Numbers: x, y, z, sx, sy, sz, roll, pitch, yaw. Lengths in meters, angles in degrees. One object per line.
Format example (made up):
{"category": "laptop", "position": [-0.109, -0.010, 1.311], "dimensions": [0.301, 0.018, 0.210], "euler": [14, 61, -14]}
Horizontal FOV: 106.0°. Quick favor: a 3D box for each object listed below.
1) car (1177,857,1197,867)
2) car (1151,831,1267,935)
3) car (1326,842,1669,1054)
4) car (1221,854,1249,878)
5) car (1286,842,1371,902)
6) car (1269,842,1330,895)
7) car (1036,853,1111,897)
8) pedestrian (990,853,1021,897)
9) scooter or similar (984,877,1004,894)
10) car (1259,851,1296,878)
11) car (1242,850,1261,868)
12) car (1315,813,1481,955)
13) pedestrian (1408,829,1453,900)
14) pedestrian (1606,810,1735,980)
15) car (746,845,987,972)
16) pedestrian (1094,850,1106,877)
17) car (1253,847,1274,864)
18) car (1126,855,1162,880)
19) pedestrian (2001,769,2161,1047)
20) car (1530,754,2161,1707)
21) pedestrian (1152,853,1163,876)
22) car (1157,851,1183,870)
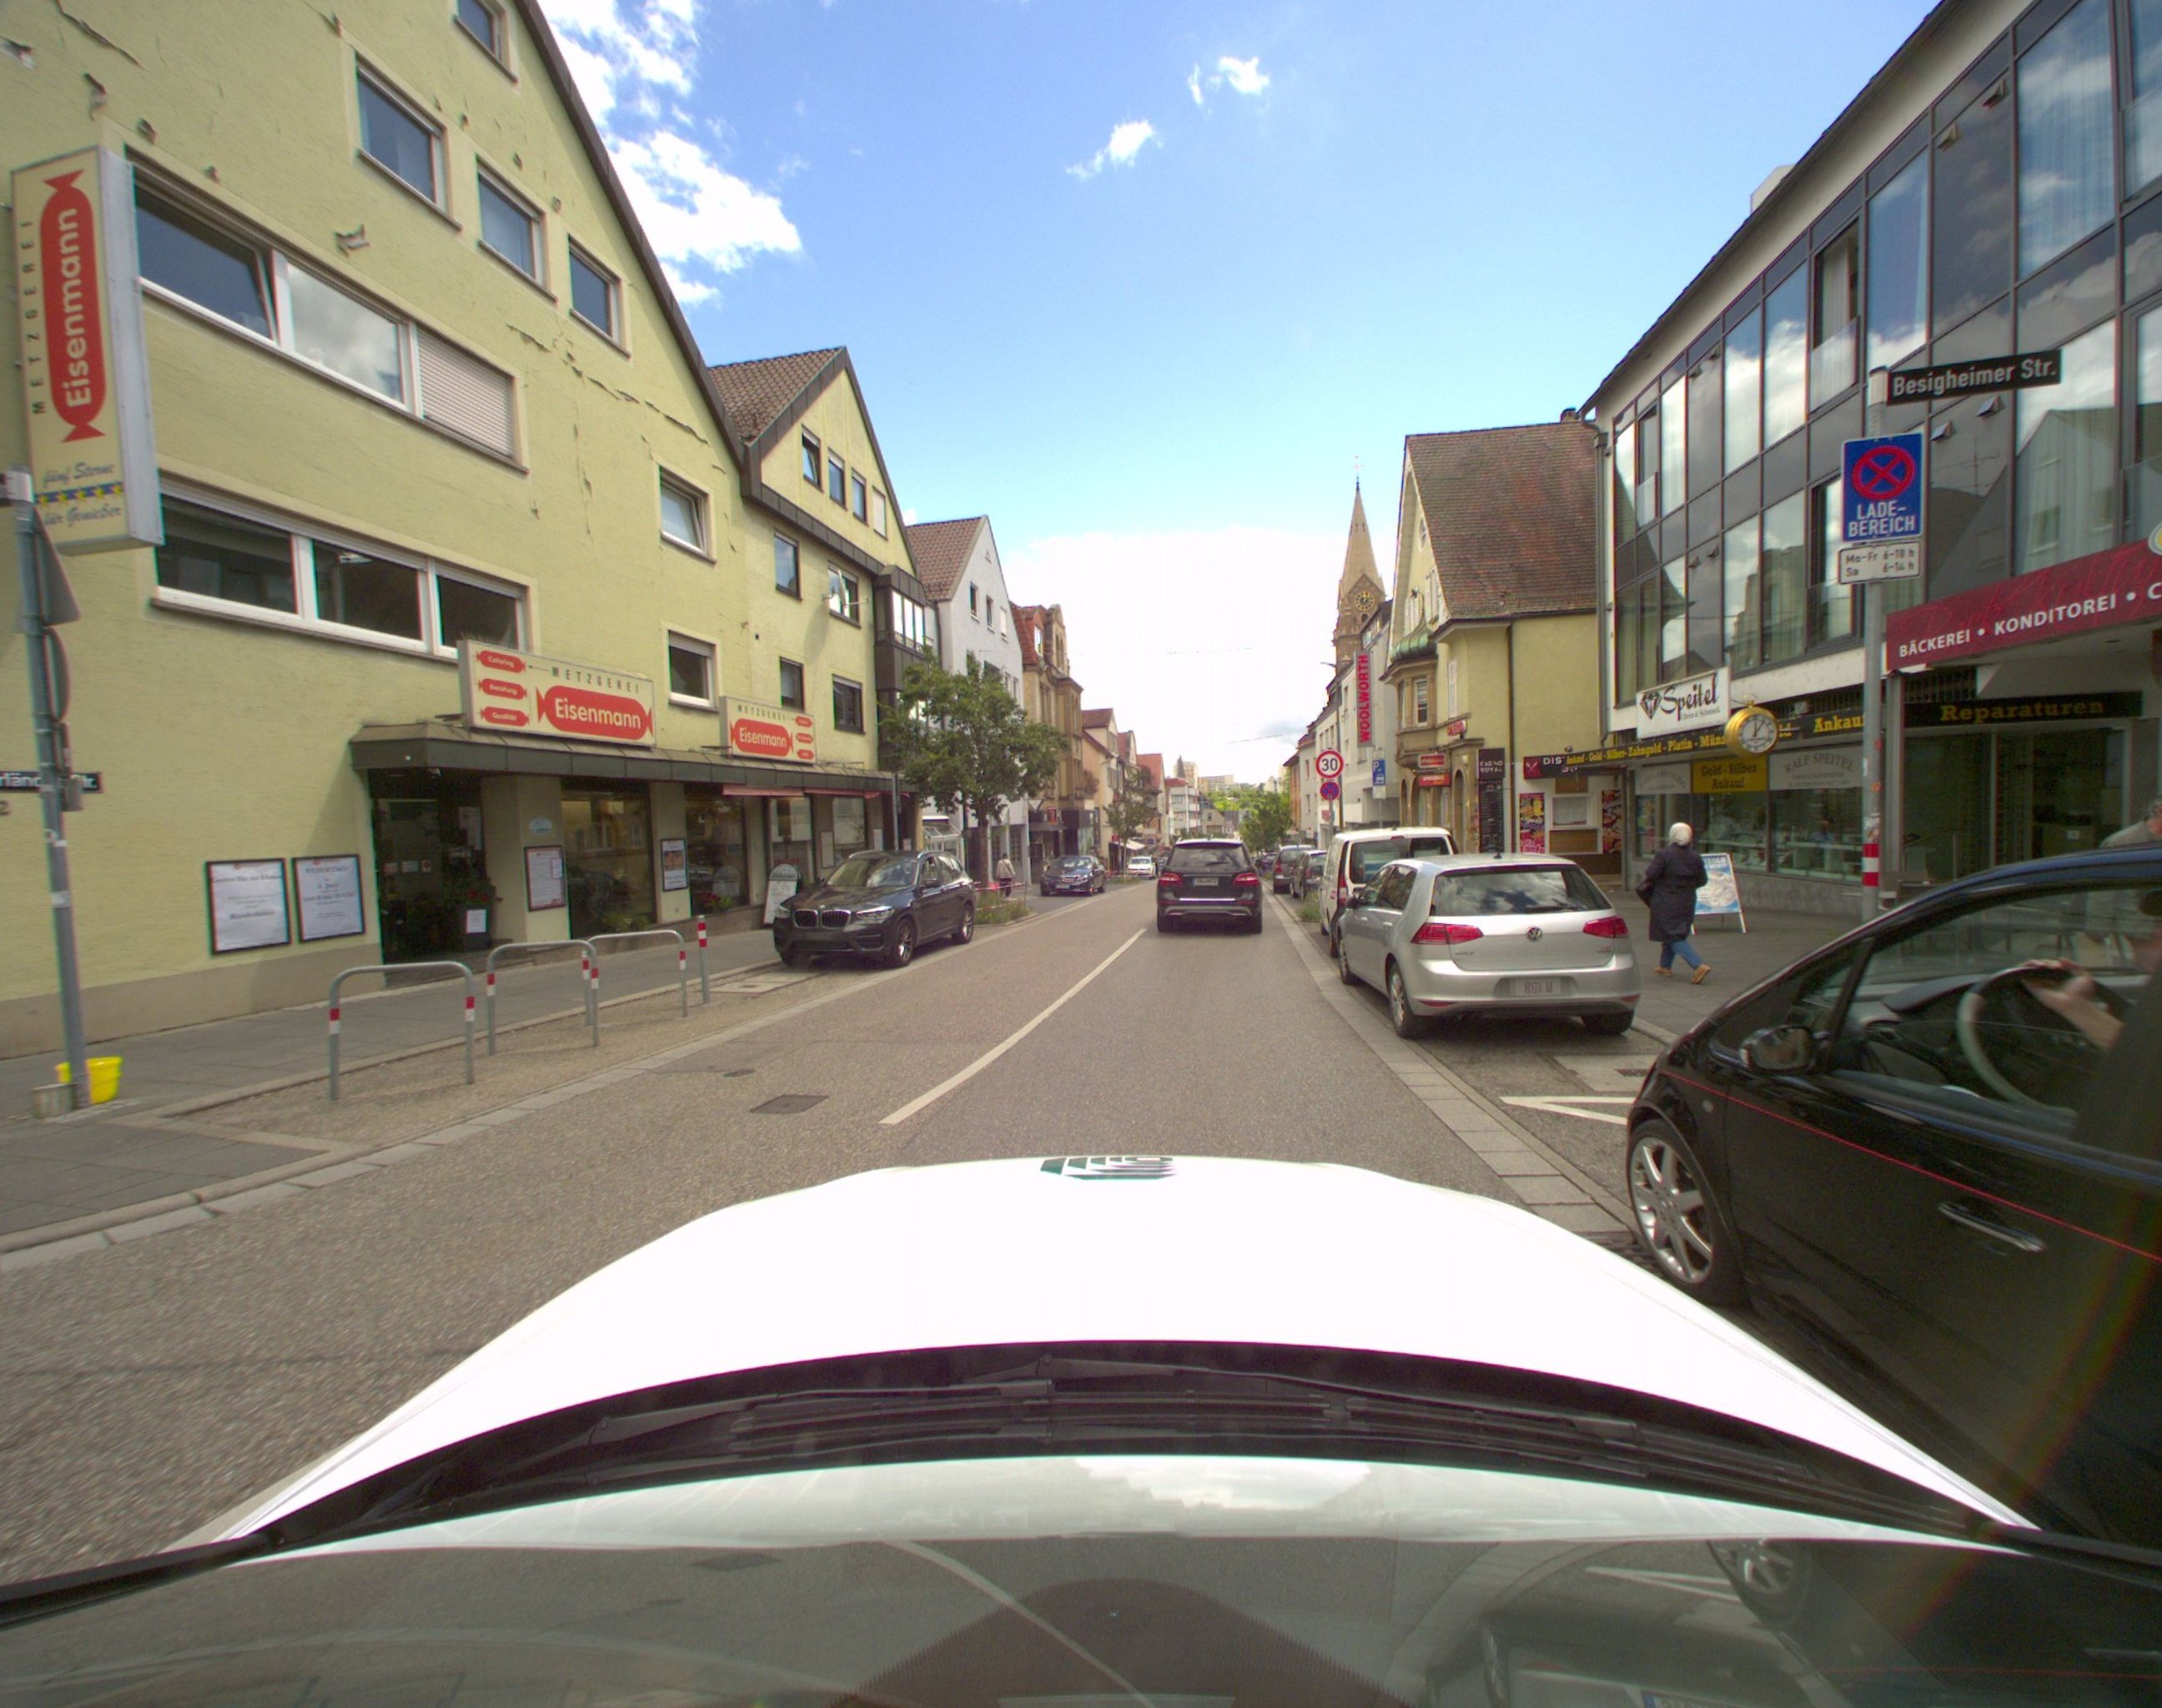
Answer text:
{"category": "car", "position": [21.614, 1.685, 165.573], "dimensions": [3.966, 1.750, 2.004], "euler": [-4, -2, 7]}
{"category": "car", "position": [2.613, 0.522, 16.149], "dimensions": [1.931, 1.740, 4.191], "euler": [-2, -1, 11]}
{"category": "car", "position": [3.538, 0.686, 7.788], "dimensions": [1.693, 1.467, 4.010], "euler": [-2, 0, 8]}
{"category": "car", "position": [10.522, 0.784, 55.492], "dimensions": [1.774, 1.540, 3.756], "euler": [-1, 0, 11]}
{"category": "car", "position": [7.050, 0.491, 23.554], "dimensions": [1.738, 1.509, 3.883], "euler": [-3, -1, 8]}
{"category": "car", "position": [7.525, 0.479, 28.310], "dimensions": [1.737, 1.608, 3.812], "euler": [-3, -1, 12]}
{"category": "car", "position": [-0.181, 0.730, 30.417], "dimensions": [1.915, 1.492, 4.856], "euler": [1, 0, 10]}
{"category": "pedestrian", "position": [-2.553, 0.706, 27.495], "dimensions": [0.821, 1.463, 0.812], "euler": [1, -1, 10]}
{"category": "scooter or similar", "position": [-2.862, 1.025, 26.803], "dimensions": [0.521, 0.519, 0.574], "euler": [1, -1, 10]}
{"category": "car", "position": [12.345, 0.685, 51.419], "dimensions": [1.739, 1.498, 3.806], "euler": [-4, -2, 6]}
{"category": "car", "position": [19.983, 0.593, 95.428], "dimensions": [1.926, 1.891, 4.720], "euler": [-4, -1, 10]}
{"category": "car", "position": [4.755, 0.396, 12.875], "dimensions": [1.863, 1.799, 4.750], "euler": [-1, 0, 14]}
{"category": "pedestrian", "position": [8.828, 0.270, 20.621], "dimensions": [0.791, 1.727, 1.056], "euler": [-2, -1, 11]}
{"category": "pedestrian", "position": [6.096, 0.414, 8.477], "dimensions": [0.817, 1.666, 0.805], "euler": [-2, -1, 17]}
{"category": "car", "position": [-3.198, 0.700, 13.323], "dimensions": [1.994, 1.693, 4.621], "euler": [0, 1, 11]}
{"category": "pedestrian", "position": [1.055, 0.520, 44.788], "dimensions": [0.486, 1.463, 0.562], "euler": [0, -1, 20]}
{"category": "car", "position": [17.487, 0.122, 78.217], "dimensions": [1.737, 1.465, 4.086], "euler": [-5, -1, 10]}
{"category": "car", "position": [4.107, 0.835, 52.828], "dimensions": [1.915, 1.511, 4.274], "euler": [0, 0, 10]}
{"category": "pedestrian", "position": [7.049, 0.324, 5.392], "dimensions": [0.857, 1.707, 0.949], "euler": [-2, -1, 17]}
{"category": "car", "position": [2.680, 0.594, 1.815], "dimensions": [1.791, 1.555, 3.966], "euler": [-2, 0, 11]}
{"category": "pedestrian", "position": [5.624, 0.748, 59.674], "dimensions": [0.733, 1.672, 0.865], "euler": [-1, -1, 8]}
{"category": "car", "position": [7.642, 0.586, 69.814], "dimensions": [1.915, 1.621, 4.652], "euler": [0, -1, 10]}
